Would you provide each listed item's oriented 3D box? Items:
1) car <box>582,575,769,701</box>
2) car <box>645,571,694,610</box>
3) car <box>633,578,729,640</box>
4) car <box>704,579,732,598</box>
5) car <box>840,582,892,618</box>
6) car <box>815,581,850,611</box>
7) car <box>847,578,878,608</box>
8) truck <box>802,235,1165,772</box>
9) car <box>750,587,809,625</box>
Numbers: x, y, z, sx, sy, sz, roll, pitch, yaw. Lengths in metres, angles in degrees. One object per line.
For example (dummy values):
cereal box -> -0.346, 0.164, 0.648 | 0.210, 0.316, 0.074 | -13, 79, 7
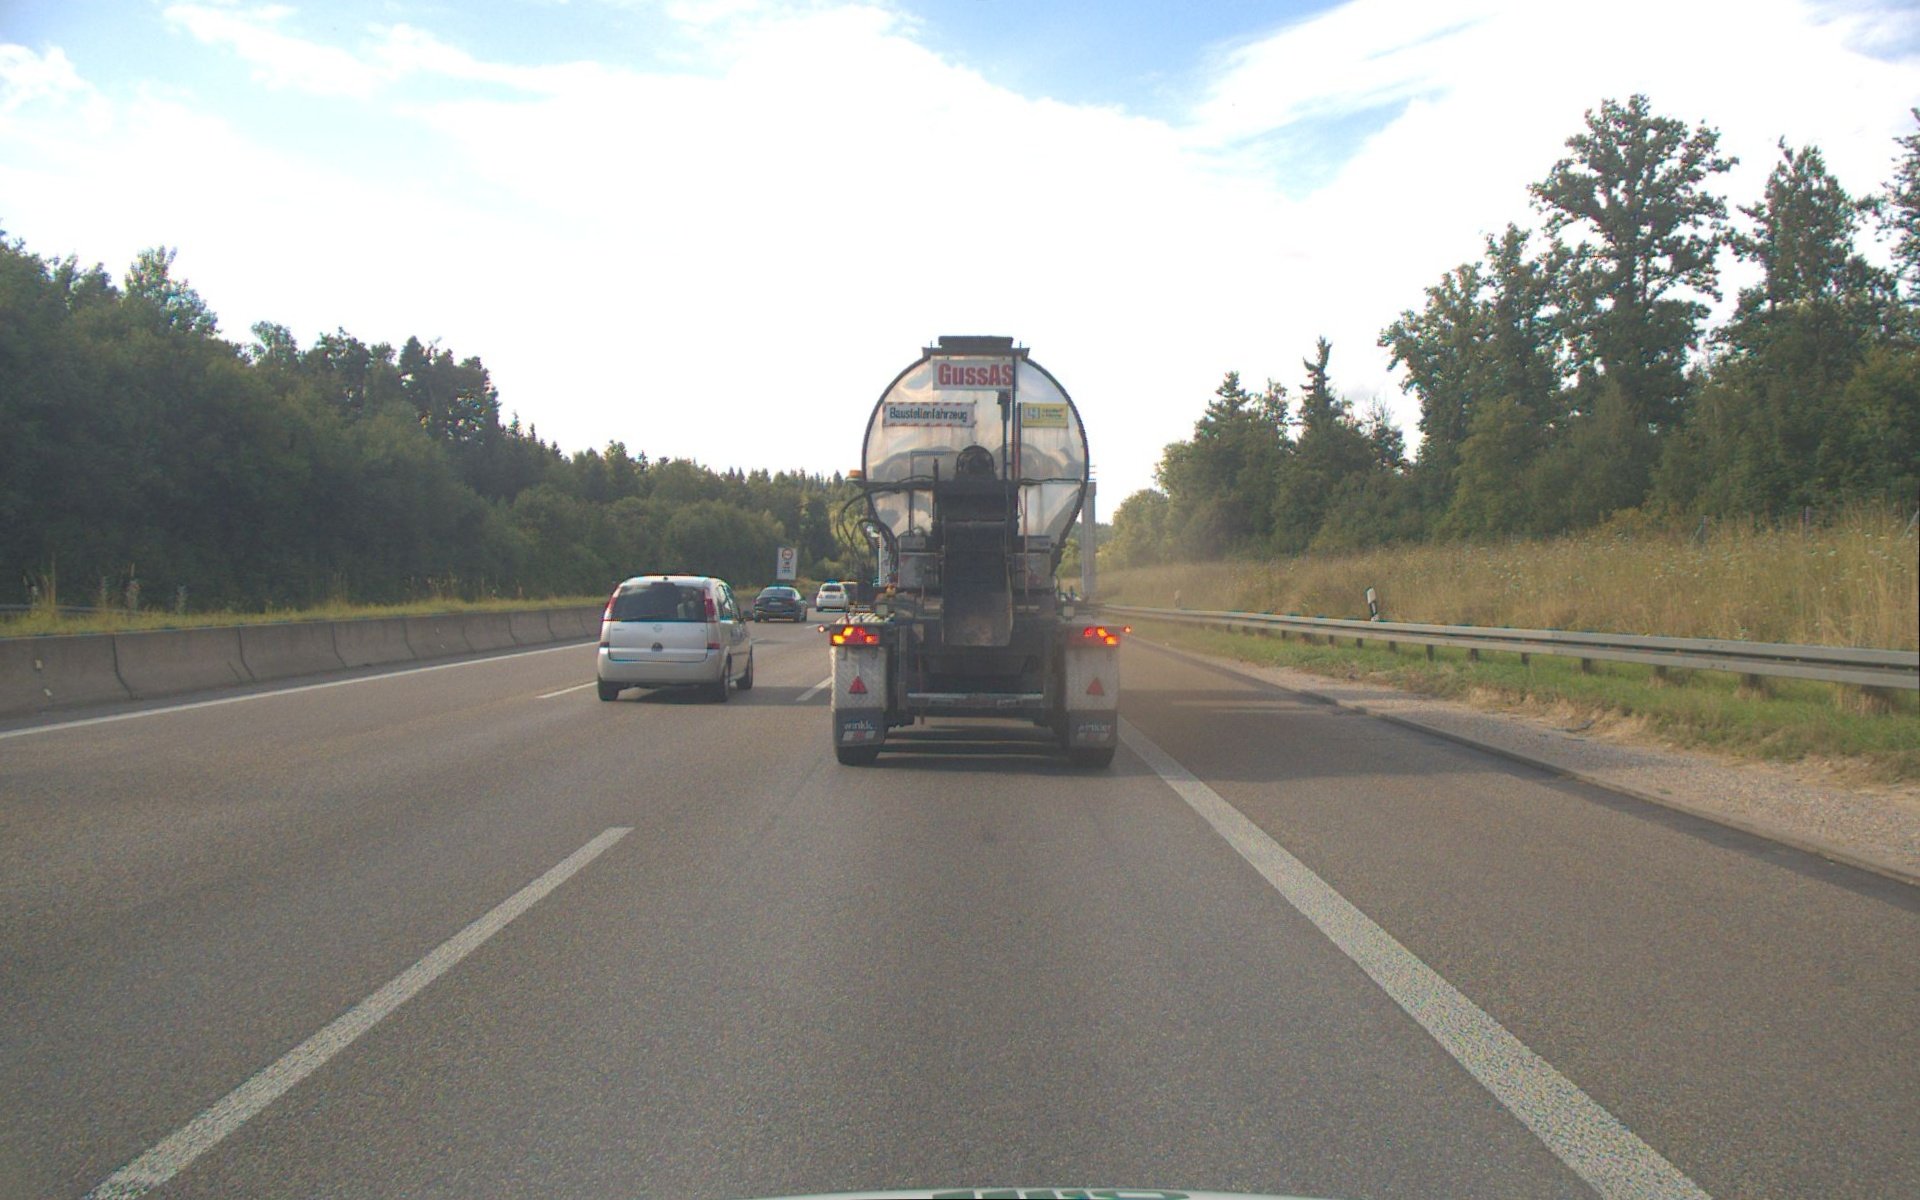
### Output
car -> -3.767, 0.454, 22.622 | 1.798, 1.544, 4.333 | 0, 0, 0
car -> -15.461, -0.514, 88.179 | 1.953, 2.049, 4.071 | 0, 0, -1
car -> -7.317, 0.208, 43.704 | 1.798, 1.544, 4.333 | 0, 0, 0
car -> -21.747, -1.040, 148.847 | 1.841, 1.656, 4.569 | 0, 0, -1
car -> -4.201, -0.028, 74.636 | 2.018, 1.525, 5.736 | 0, 0, 0
car -> -6.886, -0.243, 89.563 | 1.585, 1.571, 3.519 | 1, 0, -1
car -> -6.221, -0.460, 105.552 | 1.808, 1.814, 3.999 | 0, 0, -1
truck -> 0.215, -0.814, 18.737 | 2.853, 4.230, 11.270 | 0, 0, 0
car -> -7.189, 0.215, 66.311 | 1.818, 1.456, 4.841 | 0, 0, 0
